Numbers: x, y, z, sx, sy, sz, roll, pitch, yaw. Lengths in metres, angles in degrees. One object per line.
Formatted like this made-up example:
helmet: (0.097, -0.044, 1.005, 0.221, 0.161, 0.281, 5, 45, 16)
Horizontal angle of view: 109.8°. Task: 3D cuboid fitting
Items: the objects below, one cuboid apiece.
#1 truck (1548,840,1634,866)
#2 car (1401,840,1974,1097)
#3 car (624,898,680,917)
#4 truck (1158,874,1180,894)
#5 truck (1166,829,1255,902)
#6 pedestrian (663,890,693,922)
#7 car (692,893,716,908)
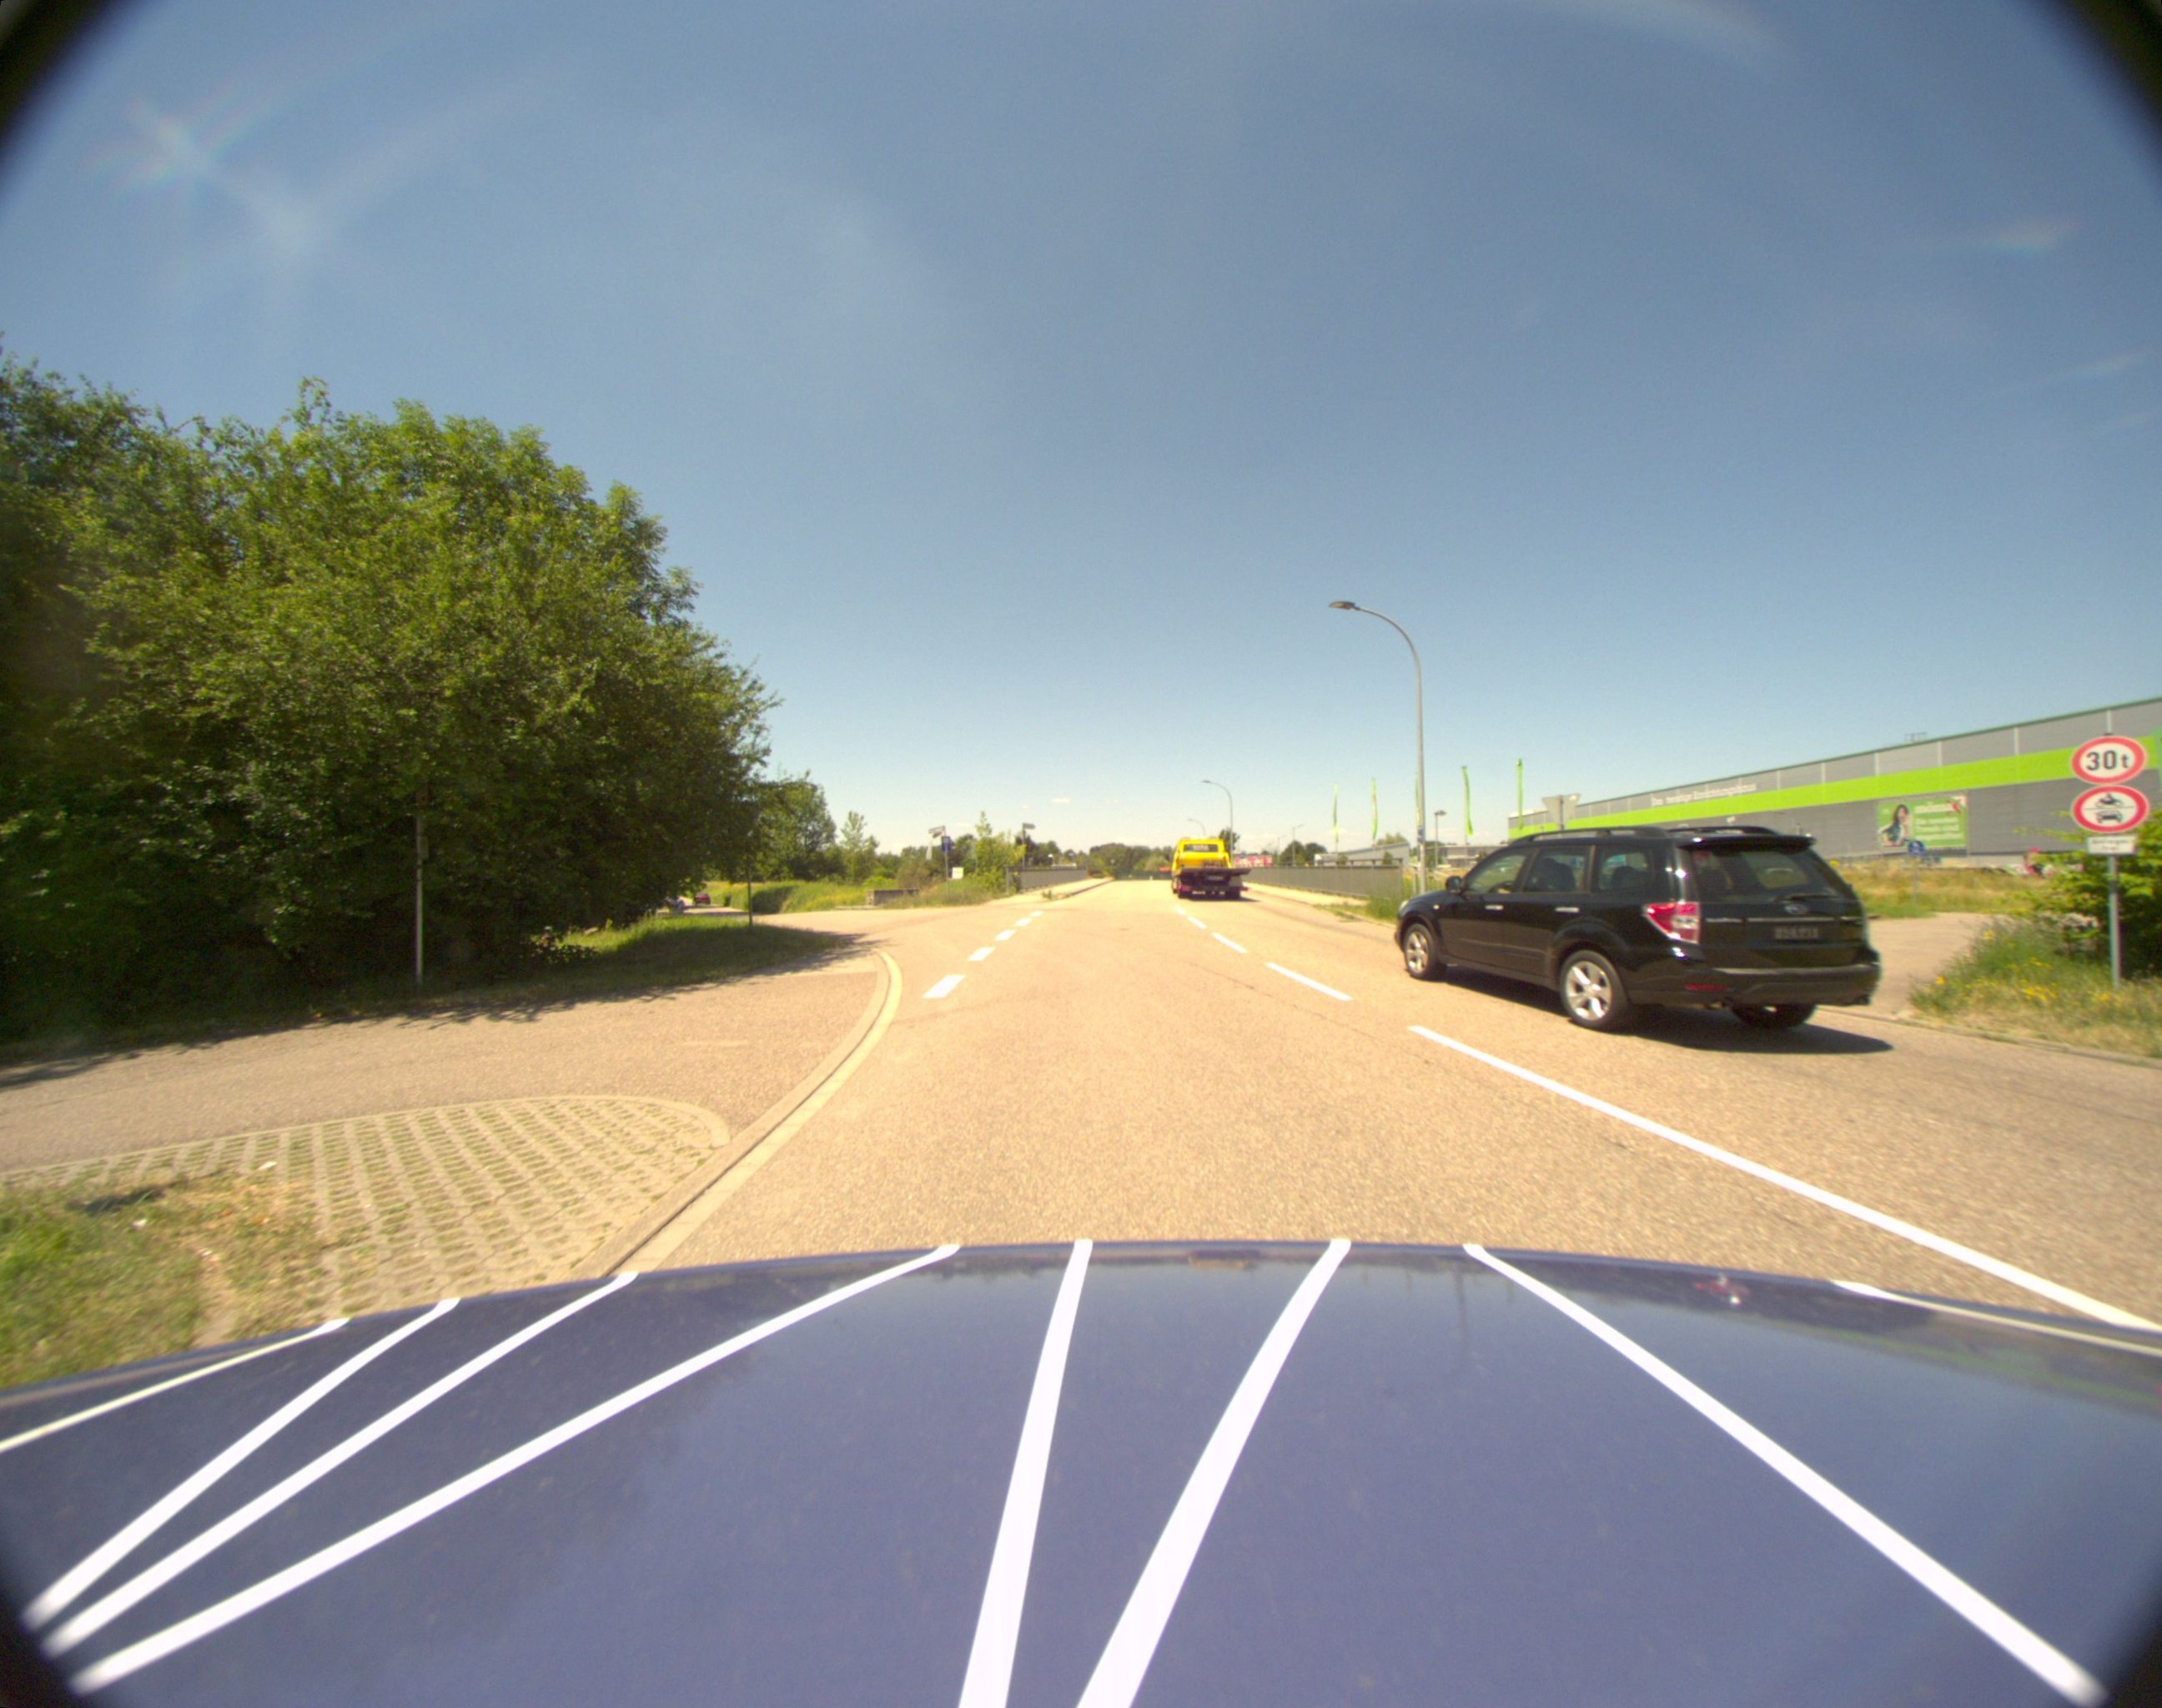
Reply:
truck: (58.830, -0.053, 87.788, 7.757, 2.667, 2.968, -4, -3, 43)
car: (4.946, 0.768, 7.087, 1.908, 1.692, 3.998, 0, 0, -6)
car: (-40.515, 5.014, 71.797, 4.521, 1.614, 1.995, 0, -2, -33)
truck: (19.522, 6.664, 168.301, 2.843, 4.170, 8.148, -3, -3, 21)
truck: (4.641, 0.349, 28.851, 2.316, 2.324, 9.053, 1, 0, 3)
pedestrian: (-17.728, 2.277, 33.450, 0.681, 1.384, 0.852, 0, -3, 17)
car: (-43.261, 5.317, 87.040, 2.004, 1.614, 4.502, 0, -2, -32)
